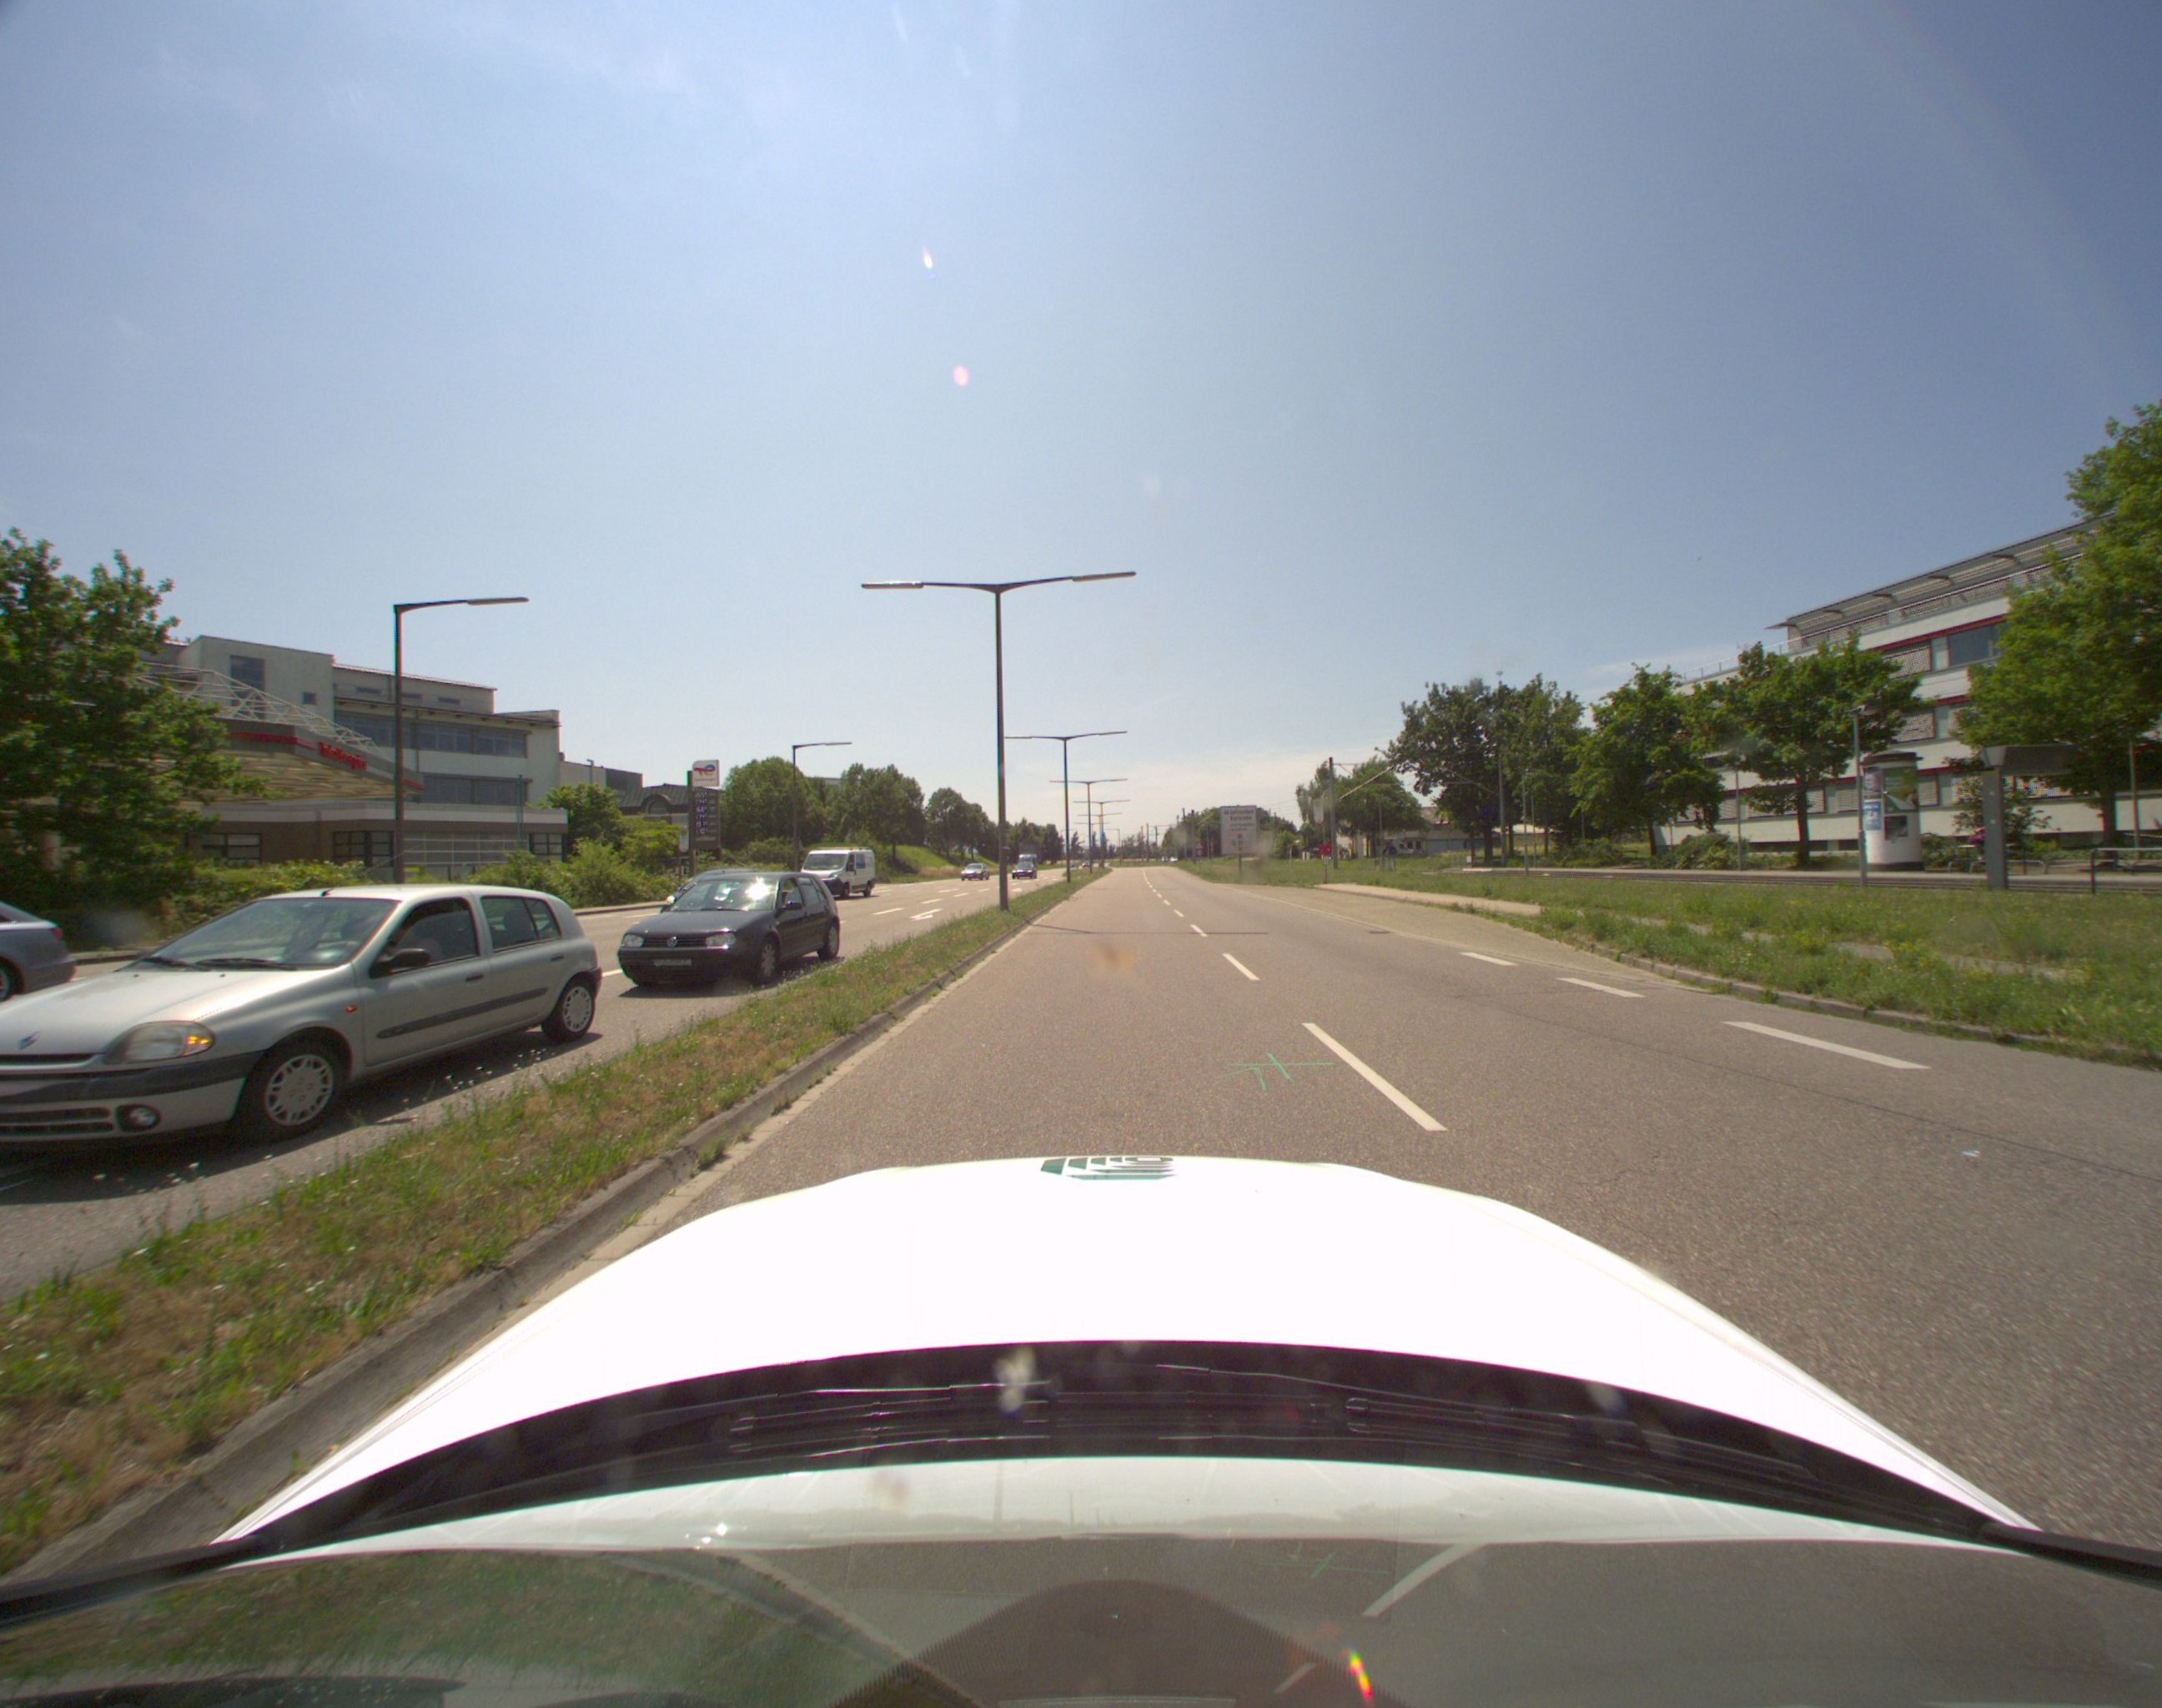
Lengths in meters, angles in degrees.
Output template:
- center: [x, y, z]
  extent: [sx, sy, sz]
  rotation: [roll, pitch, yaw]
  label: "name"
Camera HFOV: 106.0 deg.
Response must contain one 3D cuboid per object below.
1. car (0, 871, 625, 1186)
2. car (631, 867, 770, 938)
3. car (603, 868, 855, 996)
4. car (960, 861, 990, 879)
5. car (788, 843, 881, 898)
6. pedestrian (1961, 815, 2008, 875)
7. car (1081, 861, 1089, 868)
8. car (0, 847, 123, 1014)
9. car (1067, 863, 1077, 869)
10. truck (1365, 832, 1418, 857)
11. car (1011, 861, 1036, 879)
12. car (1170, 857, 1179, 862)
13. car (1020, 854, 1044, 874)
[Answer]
- center: [-5.187, 0.895, 5.886]
  extent: [1.555, 1.423, 3.854]
  rotation: [-1, 0, 1]
  label: "car"
- center: [-8.626, 1.041, 18.781]
  extent: [1.441, 1.446, 3.507]
  rotation: [-1, 0, 2]
  label: "car"
- center: [-4.709, 0.944, 11.623]
  extent: [1.670, 1.434, 4.192]
  rotation: [-1, 0, 1]
  label: "car"
- center: [-9.182, 1.351, 70.709]
  extent: [1.824, 1.449, 4.853]
  rotation: [-2, 0, 2]
  label: "car"
- center: [-10.944, 0.717, 36.604]
  extent: [2.240, 2.273, 5.453]
  rotation: [0, -1, 3]
  label: "car"
- center: [28.019, -0.264, 25.258]
  extent: [0.695, 1.842, 0.708]
  rotation: [0, -1, -13]
  label: "pedestrian"
- center: [0.984, 2.477, 194.146]
  extent: [1.685, 1.492, 4.002]
  rotation: [-2, 0, 2]
  label: "car"
- center: [-12.378, 0.801, 7.113]
  extent: [1.957, 1.750, 5.024]
  rotation: [0, 0, 2]
  label: "car"
- center: [-2.046, 2.770, 186.993]
  extent: [1.985, 1.360, 4.670]
  rotation: [-3, 0, 4]
  label: "car"
- center: [39.997, -1.234, 105.043]
  extent: [5.832, 2.843, 2.316]
  rotation: [-3, -1, -6]
  label: "truck"
- center: [-5.119, 1.422, 73.044]
  extent: [1.725, 1.458, 4.565]
  rotation: [-2, 0, 1]
  label: "car"
- center: [22.784, 1.390, 198.952]
  extent: [1.559, 1.179, 3.075]
  rotation: [-2, -1, -4]
  label: "car"
- center: [-6.391, 1.298, 107.610]
  extent: [2.162, 2.411, 5.681]
  rotation: [-2, 0, 6]
  label: "car"
